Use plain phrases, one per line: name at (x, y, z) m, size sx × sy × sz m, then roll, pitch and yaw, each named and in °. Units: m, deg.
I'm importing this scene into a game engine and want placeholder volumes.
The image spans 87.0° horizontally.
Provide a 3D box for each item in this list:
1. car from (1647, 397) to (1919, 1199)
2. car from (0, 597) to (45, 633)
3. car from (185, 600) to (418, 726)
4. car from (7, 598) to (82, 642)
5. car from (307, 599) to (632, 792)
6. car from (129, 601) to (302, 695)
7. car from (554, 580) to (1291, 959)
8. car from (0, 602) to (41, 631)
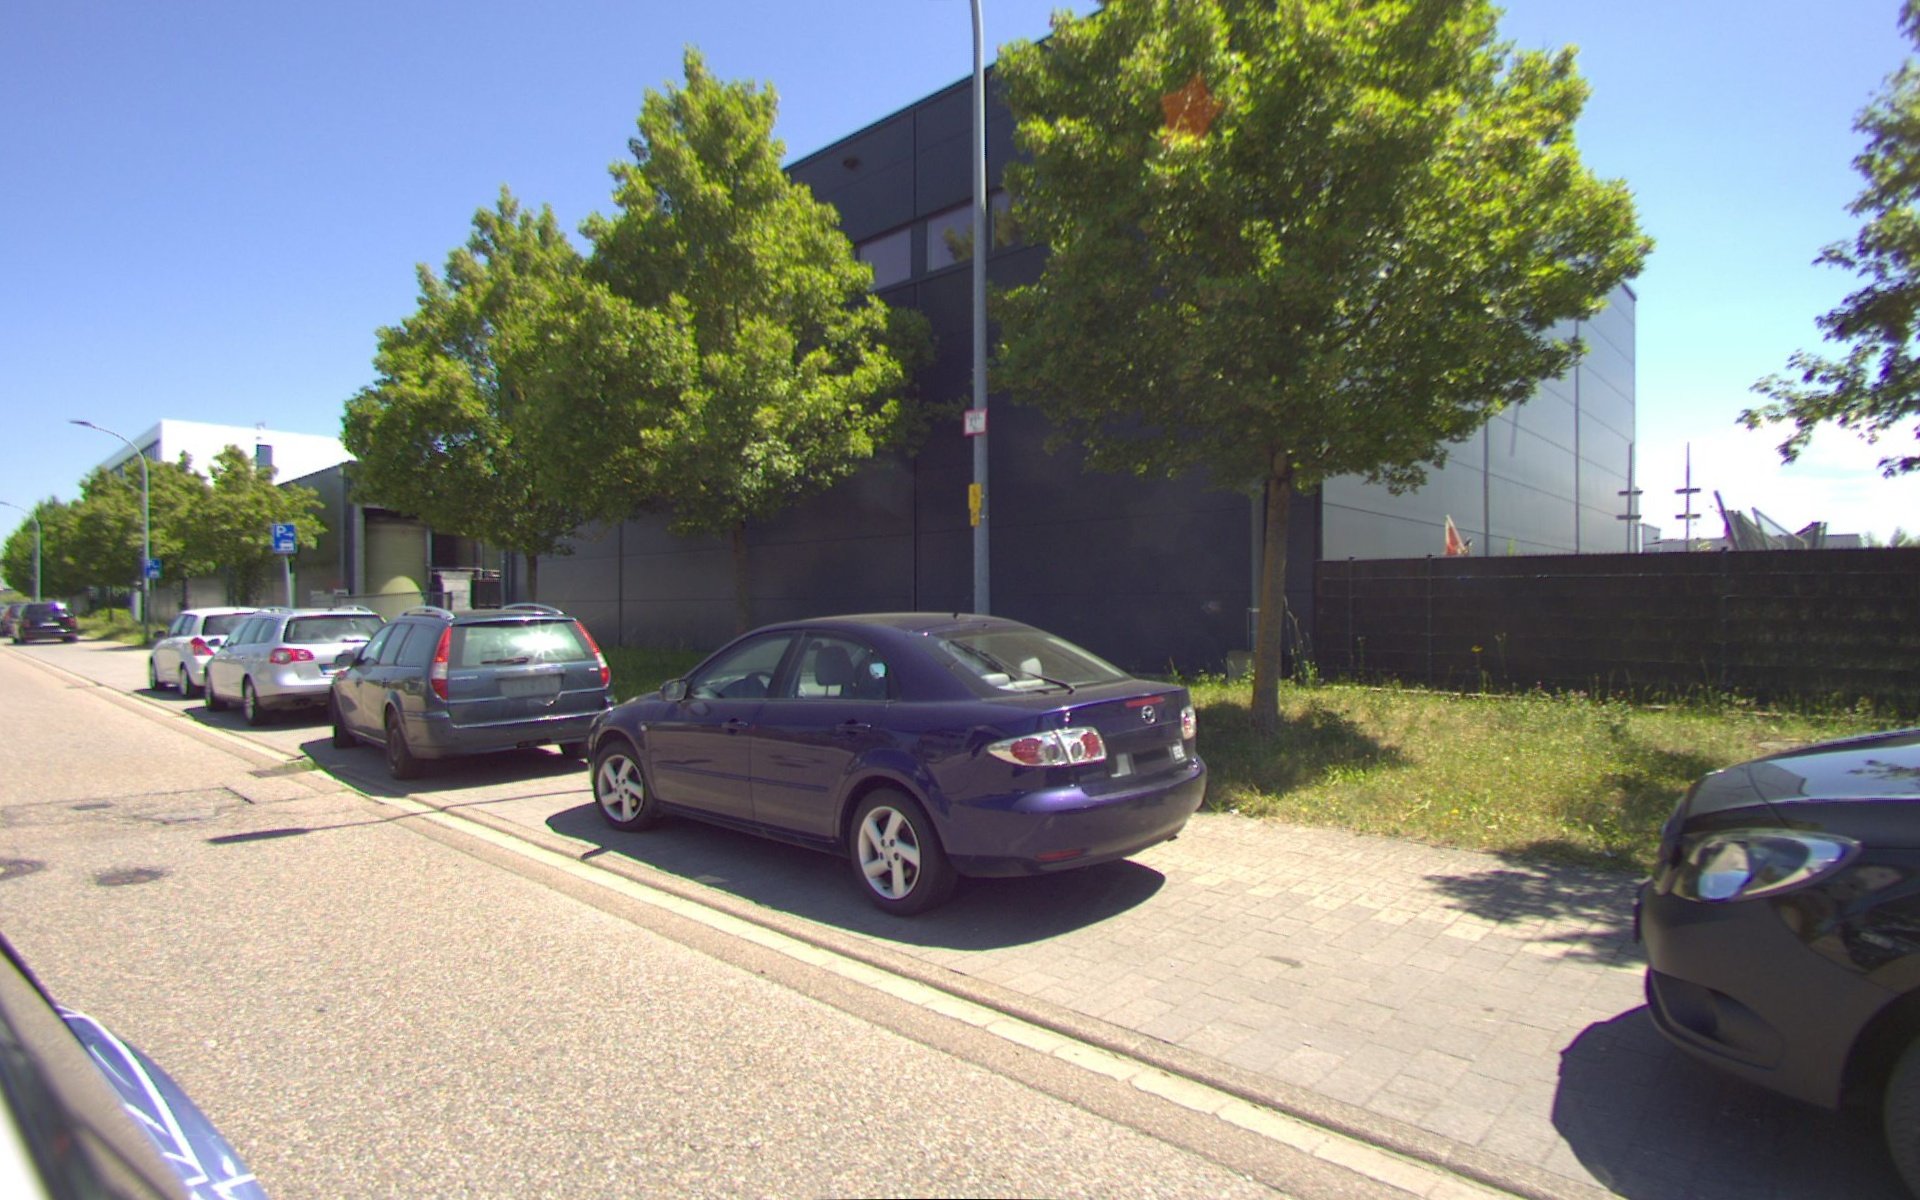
car at (3.887, 0.456, 1.761) m, size 4.252 × 1.828 × 1.780 m, roll 0°, pitch 0°, yaw 43°
car at (-45.198, 0.691, 48.311) m, size 4.851 × 1.623 × 1.752 m, roll 0°, pitch 0°, yaw 42°
car at (-9.448, 0.765, 14.353) m, size 4.556 × 1.487 × 1.779 m, roll 0°, pitch 0°, yaw 44°
car at (-35.996, 0.746, 39.755) m, size 4.246 × 1.623 × 1.752 m, roll 0°, pitch 0°, yaw 42°
car at (-5.140, 0.751, 10.230) m, size 1.777 × 1.487 × 4.643 m, roll -1°, pitch 0°, yaw -41°
car at (-13.374, 0.778, 18.104) m, size 3.855 × 1.487 × 1.703 m, roll 0°, pitch 0°, yaw 41°
car at (-0.555, 0.666, 6.190) m, size 4.588 × 1.487 × 1.780 m, roll 0°, pitch 0°, yaw 43°
car at (-49.350, 0.860, 52.714) m, size 4.200 × 1.442 × 1.752 m, roll 0°, pitch 0°, yaw 42°
